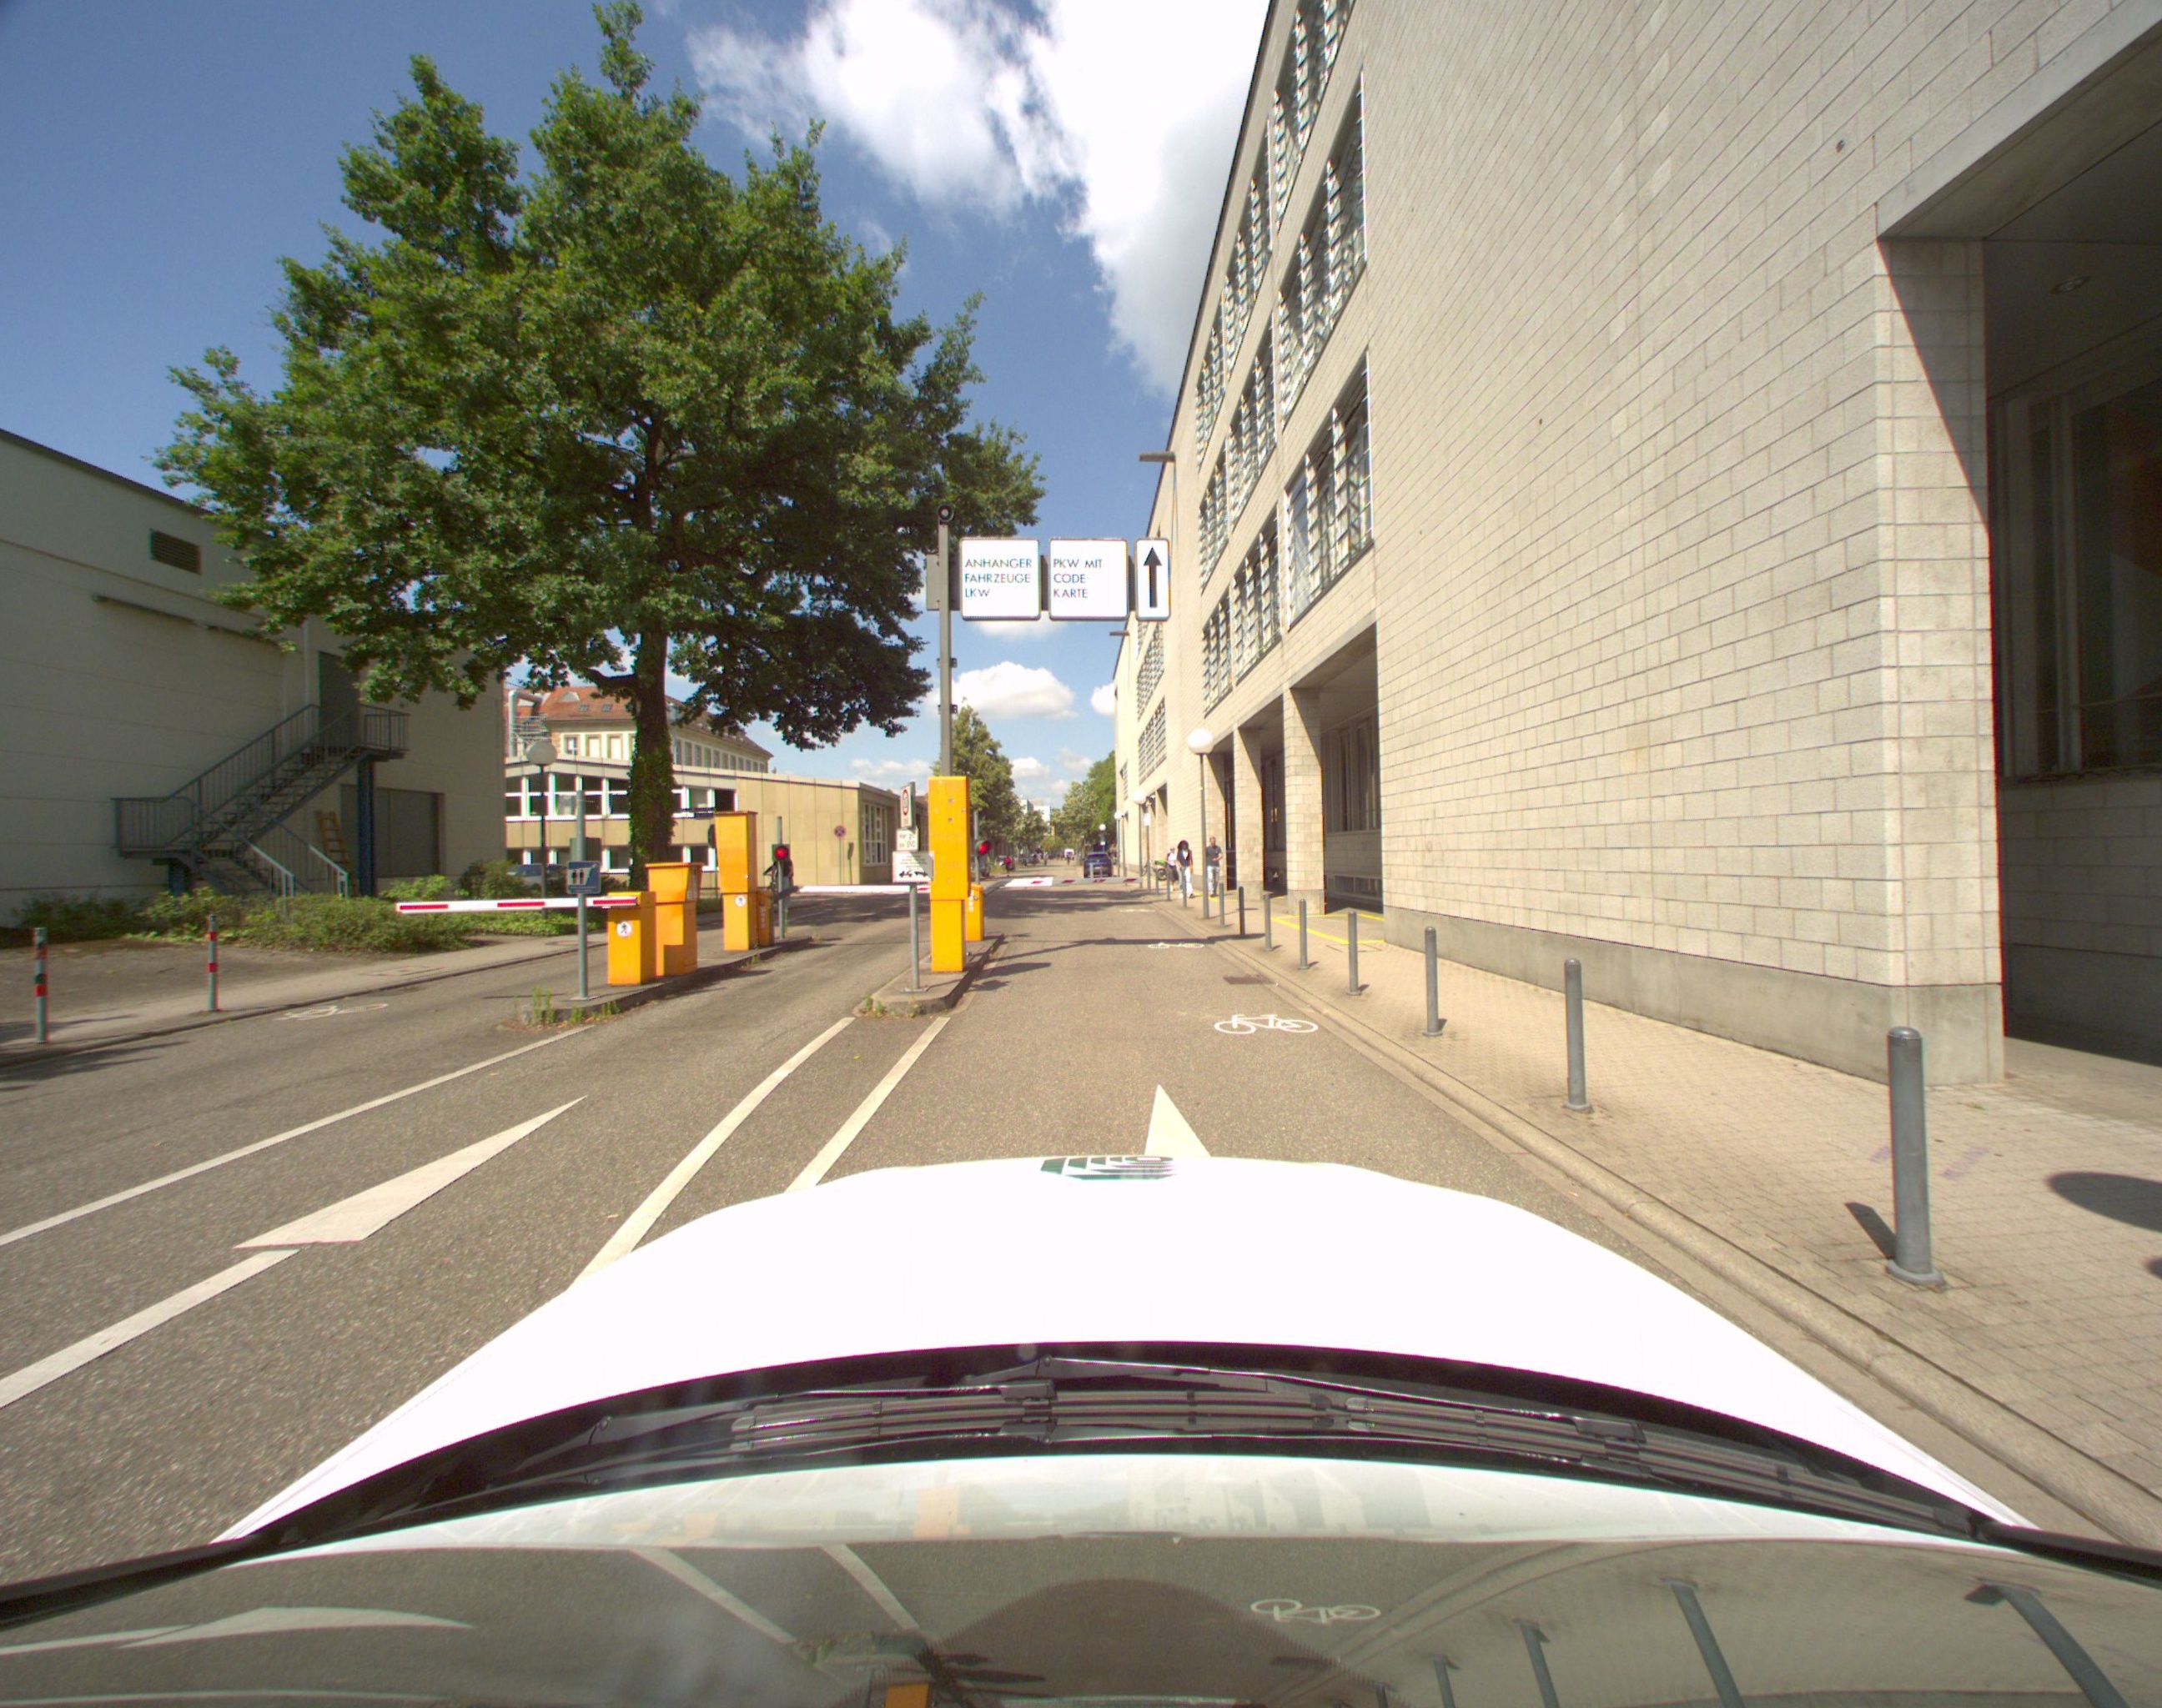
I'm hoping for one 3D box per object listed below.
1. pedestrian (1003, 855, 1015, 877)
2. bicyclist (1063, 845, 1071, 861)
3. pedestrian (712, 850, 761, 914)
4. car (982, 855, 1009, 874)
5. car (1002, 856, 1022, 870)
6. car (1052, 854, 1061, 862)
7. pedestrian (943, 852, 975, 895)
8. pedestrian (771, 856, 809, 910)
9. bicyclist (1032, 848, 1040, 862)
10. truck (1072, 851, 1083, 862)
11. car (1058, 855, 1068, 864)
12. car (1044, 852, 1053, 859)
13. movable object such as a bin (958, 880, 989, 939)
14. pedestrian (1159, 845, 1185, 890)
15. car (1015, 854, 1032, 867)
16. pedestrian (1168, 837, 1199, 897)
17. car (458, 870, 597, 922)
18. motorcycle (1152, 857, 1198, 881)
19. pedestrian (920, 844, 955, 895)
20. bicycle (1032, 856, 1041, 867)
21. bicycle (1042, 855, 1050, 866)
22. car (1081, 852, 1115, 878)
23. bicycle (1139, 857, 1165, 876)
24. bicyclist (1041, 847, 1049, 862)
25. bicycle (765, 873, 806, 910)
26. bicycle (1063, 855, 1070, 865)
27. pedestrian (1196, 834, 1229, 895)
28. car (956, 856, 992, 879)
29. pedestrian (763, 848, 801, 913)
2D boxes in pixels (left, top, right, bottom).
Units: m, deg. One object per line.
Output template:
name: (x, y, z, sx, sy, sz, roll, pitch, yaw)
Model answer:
pedestrian: (-5.366, 0.892, 60.533, 0.892, 1.632, 0.886, -1, -1, -6)
bicyclist: (-1.889, -0.087, 109.591, 0.984, 2.132, 1.035, -2, -2, -2)
pedestrian: (-10.063, 0.805, 23.846, 1.053, 1.815, 0.805, -2, 0, -2)
car: (-7.524, 0.905, 72.086, 1.987, 1.545, 4.210, -1, 0, 0)
car: (-8.142, 1.034, 96.599, 1.987, 1.545, 4.210, -1, 0, 0)
car: (-5.665, 0.944, 188.597, 1.986, 1.720, 4.001, -2, -2, 2)
pedestrian: (-4.748, 0.740, 31.647, 0.901, 1.632, 0.877, 0, -1, -38)
pedestrian: (-8.952, 0.876, 25.095, 0.852, 1.586, 0.805, -2, 0, -2)
bicyclist: (-5.840, 0.133, 106.716, 0.985, 1.884, 1.034, -1, -2, -5)
truck: (-0.650, 0.528, 156.855, 1.989, 2.014, 3.996, -2, -2, -2)
car: (-3.801, 1.151, 172.290, 1.986, 1.720, 4.001, -2, -2, 2)
car: (-8.618, 0.468, 213.544, 1.986, 1.720, 4.001, -2, -2, 2)
movable object such as a bin: (-1.683, 0.864, 12.792, 0.414, 0.905, 0.353, -1, 0, 3)
pedestrian: (3.389, 0.494, 30.385, 0.739, 1.632, 0.887, -3, 0, -3)
car: (-7.663, 0.845, 108.784, 1.987, 1.545, 4.210, -1, 0, 0)
pedestrian: (3.127, 0.384, 24.983, 0.693, 1.780, 1.085, -3, 0, -2)
car: (-18.469, 1.346, 27.449, 1.824, 1.466, 4.296, -1, 0, -2)
motorcycle: (4.535, 0.740, 39.266, 2.116, 1.023, 0.660, -3, -2, 0)
pedestrian: (-5.454, 0.583, 30.887, 1.011, 1.925, 0.877, 0, -1, -38)
bicycle: (-5.829, 0.941, 106.323, 0.985, 1.316, 2.959, -1, -2, -4)
bicycle: (-4.620, 0.913, 106.526, 0.985, 1.316, 2.959, -1, -2, -4)
car: (1.039, 0.681, 51.811, 1.987, 1.545, 4.210, -1, 0, 0)
bicycle: (4.261, 0.743, 48.909, 1.536, 1.066, 0.649, -2, 0, 6)
bicyclist: (-4.687, 0.079, 106.586, 0.985, 1.884, 1.034, -1, -2, -5)
bicycle: (-9.357, 1.160, 25.840, 0.643, 1.049, 1.899, -2, 0, -2)
bicycle: (-1.936, 0.792, 109.526, 0.984, 1.316, 2.962, -2, -2, -1)
pedestrian: (4.032, 0.309, 25.000, 0.765, 1.780, 0.910, -3, 0, -3)
car: (-7.656, 0.951, 58.679, 1.987, 1.545, 4.210, -1, 0, 0)
pedestrian: (-8.720, 0.753, 23.766, 0.703, 1.809, 1.001, -2, 0, -2)
